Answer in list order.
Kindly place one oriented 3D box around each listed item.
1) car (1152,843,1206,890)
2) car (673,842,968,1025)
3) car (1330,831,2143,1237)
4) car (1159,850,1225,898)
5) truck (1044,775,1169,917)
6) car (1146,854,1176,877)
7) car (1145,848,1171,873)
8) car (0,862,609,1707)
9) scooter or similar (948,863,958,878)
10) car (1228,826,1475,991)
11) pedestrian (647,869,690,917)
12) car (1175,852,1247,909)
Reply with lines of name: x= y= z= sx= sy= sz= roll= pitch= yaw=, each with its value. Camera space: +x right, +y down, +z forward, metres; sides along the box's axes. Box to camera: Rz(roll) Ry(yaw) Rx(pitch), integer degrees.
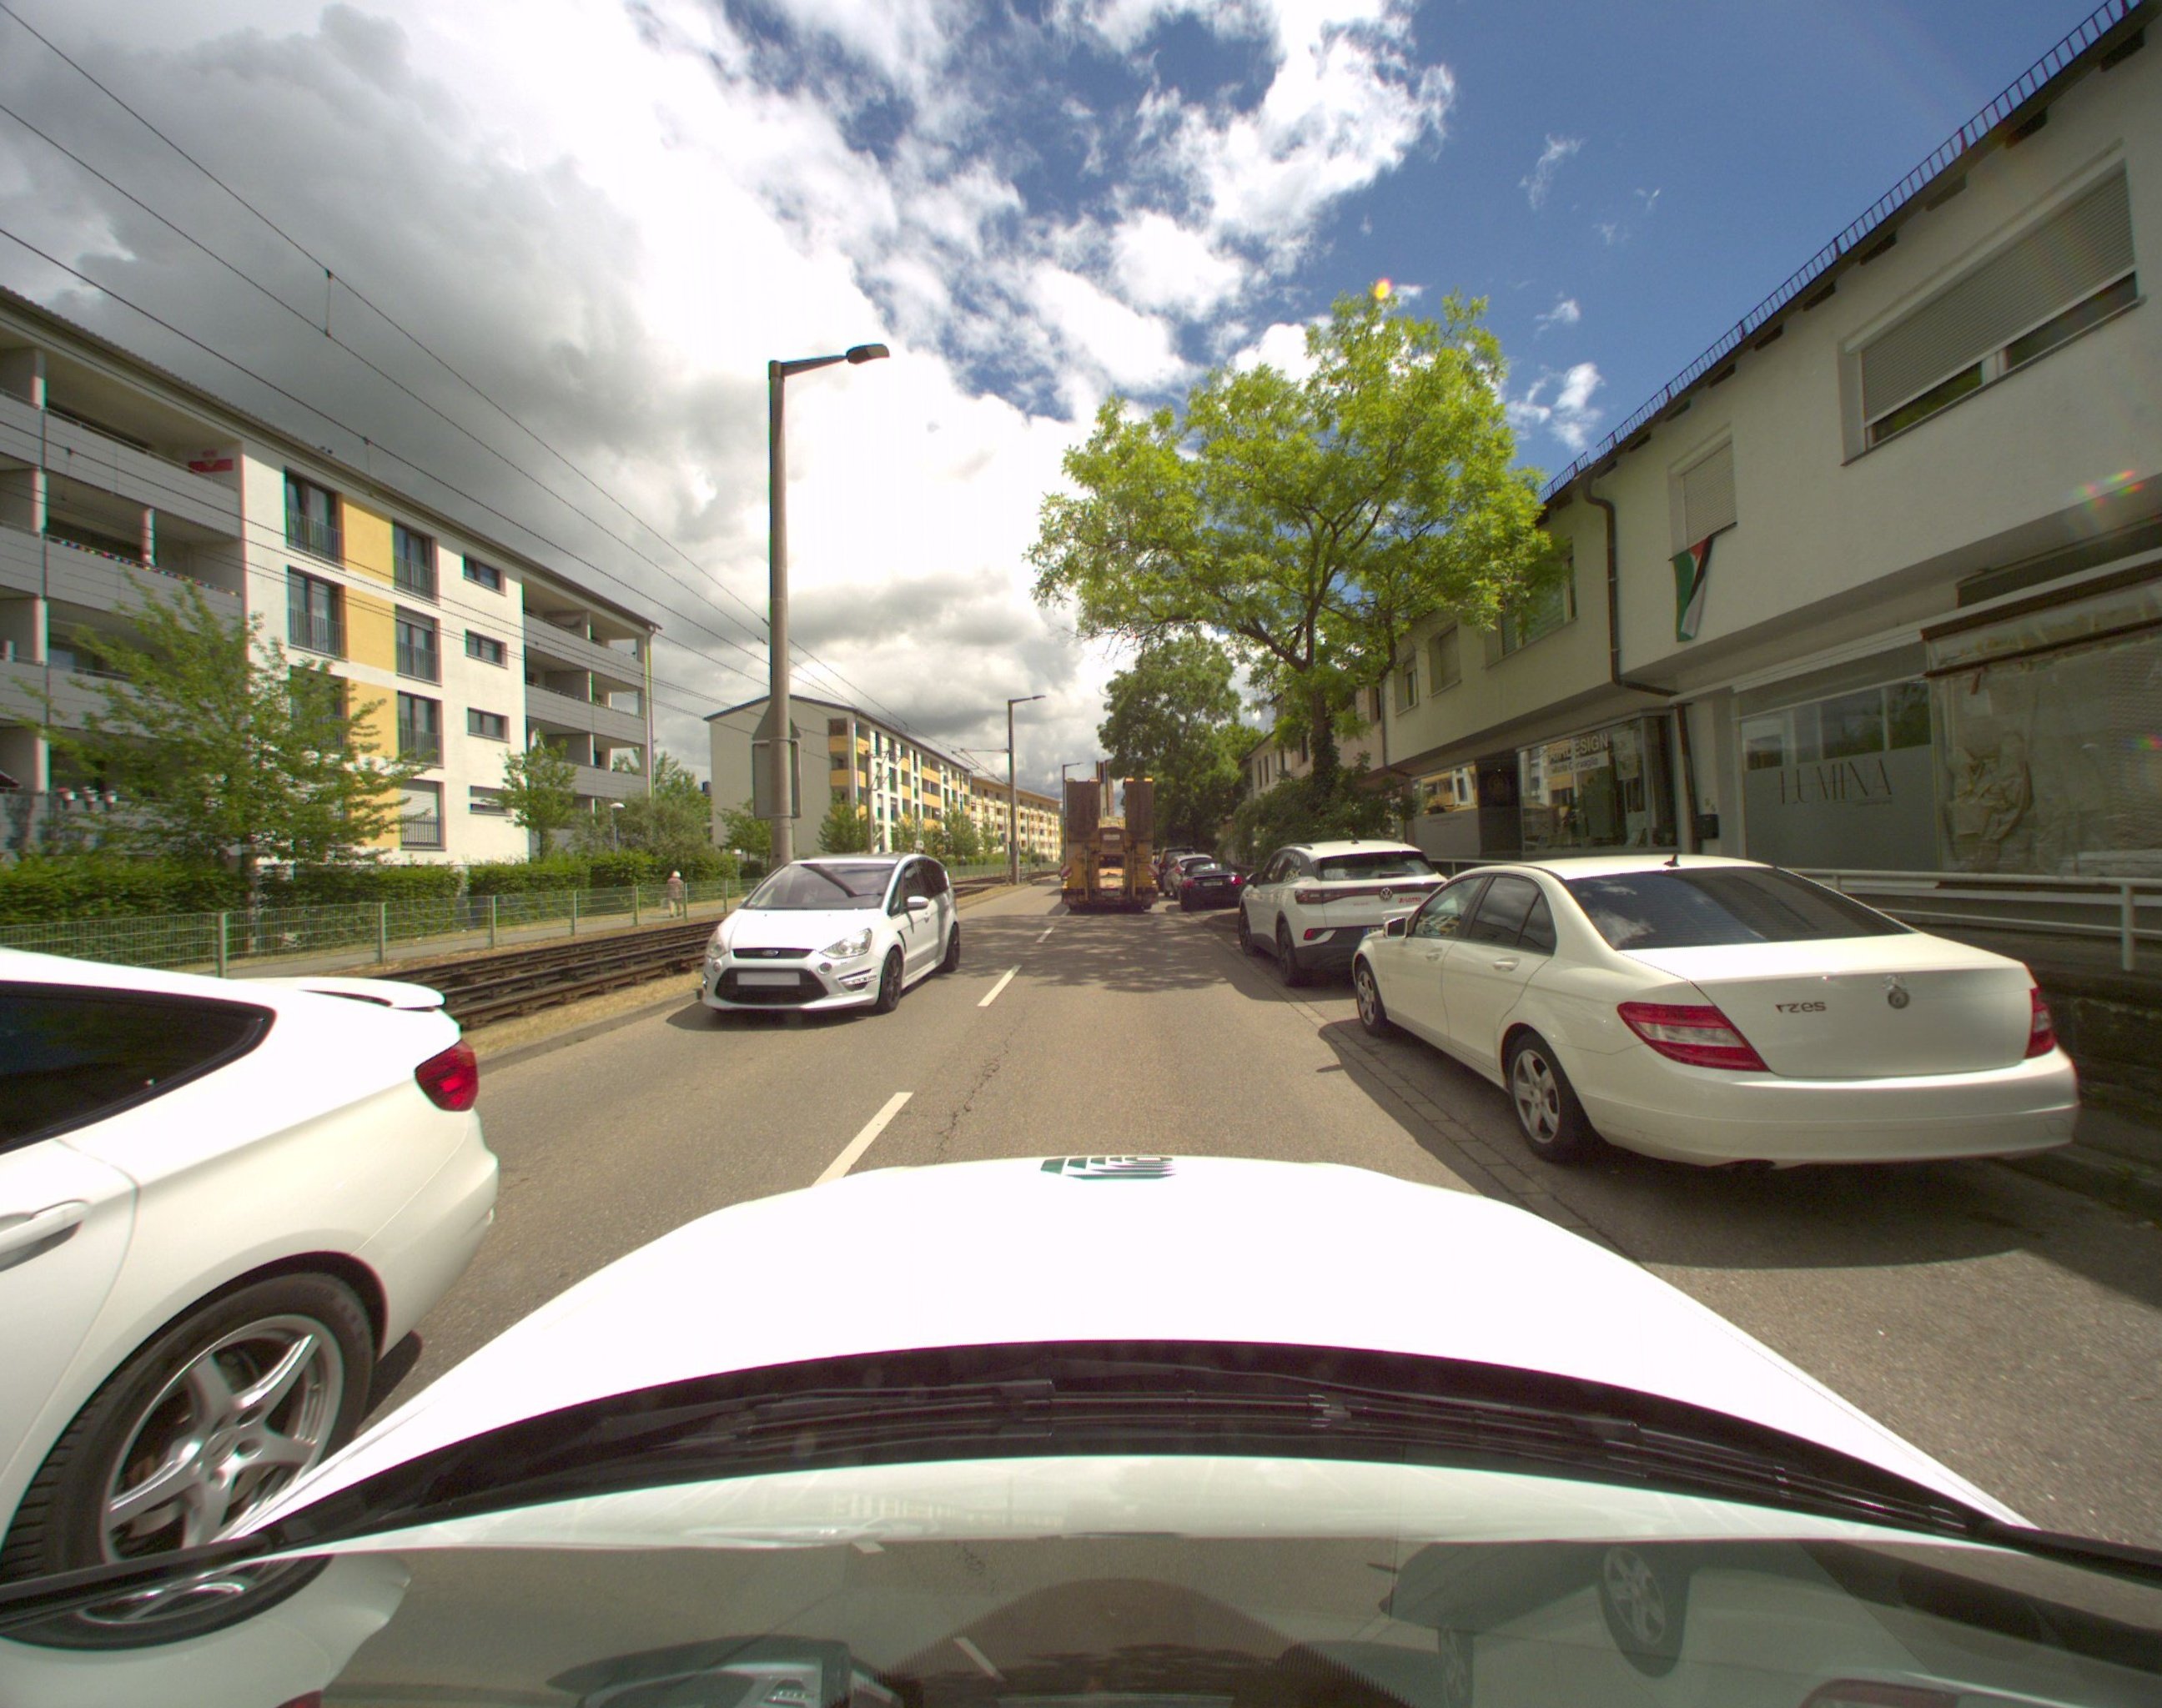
car: x=4.151 y=0.526 z=35.278 sx=2.006 sy=1.788 sz=5.081 roll=-3 pitch=0 yaw=4
car: x=-2.655 y=0.721 z=9.579 sx=1.810 sy=1.614 sz=4.604 roll=-1 pitch=0 yaw=2
car: x=3.041 y=0.666 z=5.179 sx=1.718 sy=1.426 sz=4.449 roll=-2 pitch=0 yaw=3
car: x=3.832 y=0.677 z=28.667 sx=1.765 sy=1.442 sz=3.899 roll=-4 pitch=-1 yaw=1
truck: x=0.880 y=-0.191 z=27.143 sx=3.112 sy=3.564 sz=12.465 roll=-2 pitch=0 yaw=2
car: x=5.486 y=0.797 z=56.108 sx=1.748 sy=1.442 sz=4.495 roll=-3 pitch=0 yaw=2
car: x=6.518 y=0.551 z=69.282 sx=1.906 sy=1.958 sz=5.749 roll=-3 pitch=0 yaw=3
car: x=-2.689 y=0.778 z=0.552 sx=1.810 sy=1.502 sz=4.838 roll=-1 pitch=0 yaw=1
scooter or similar: x=-11.229 y=1.474 z=71.434 sx=0.488 sy=1.293 sz=1.303 roll=-2 pitch=0 yaw=4
car: x=3.163 y=0.568 z=10.546 sx=1.830 sy=1.643 sz=4.431 roll=-2 pitch=0 yaw=2
pedestrian: x=-13.107 y=1.224 z=25.883 sx=0.793 sy=1.483 sz=0.996 roll=-2 pitch=-1 yaw=2
car: x=3.639 y=0.697 z=23.317 sx=1.762 sy=1.349 sz=4.007 roll=-4 pitch=-1 yaw=6
